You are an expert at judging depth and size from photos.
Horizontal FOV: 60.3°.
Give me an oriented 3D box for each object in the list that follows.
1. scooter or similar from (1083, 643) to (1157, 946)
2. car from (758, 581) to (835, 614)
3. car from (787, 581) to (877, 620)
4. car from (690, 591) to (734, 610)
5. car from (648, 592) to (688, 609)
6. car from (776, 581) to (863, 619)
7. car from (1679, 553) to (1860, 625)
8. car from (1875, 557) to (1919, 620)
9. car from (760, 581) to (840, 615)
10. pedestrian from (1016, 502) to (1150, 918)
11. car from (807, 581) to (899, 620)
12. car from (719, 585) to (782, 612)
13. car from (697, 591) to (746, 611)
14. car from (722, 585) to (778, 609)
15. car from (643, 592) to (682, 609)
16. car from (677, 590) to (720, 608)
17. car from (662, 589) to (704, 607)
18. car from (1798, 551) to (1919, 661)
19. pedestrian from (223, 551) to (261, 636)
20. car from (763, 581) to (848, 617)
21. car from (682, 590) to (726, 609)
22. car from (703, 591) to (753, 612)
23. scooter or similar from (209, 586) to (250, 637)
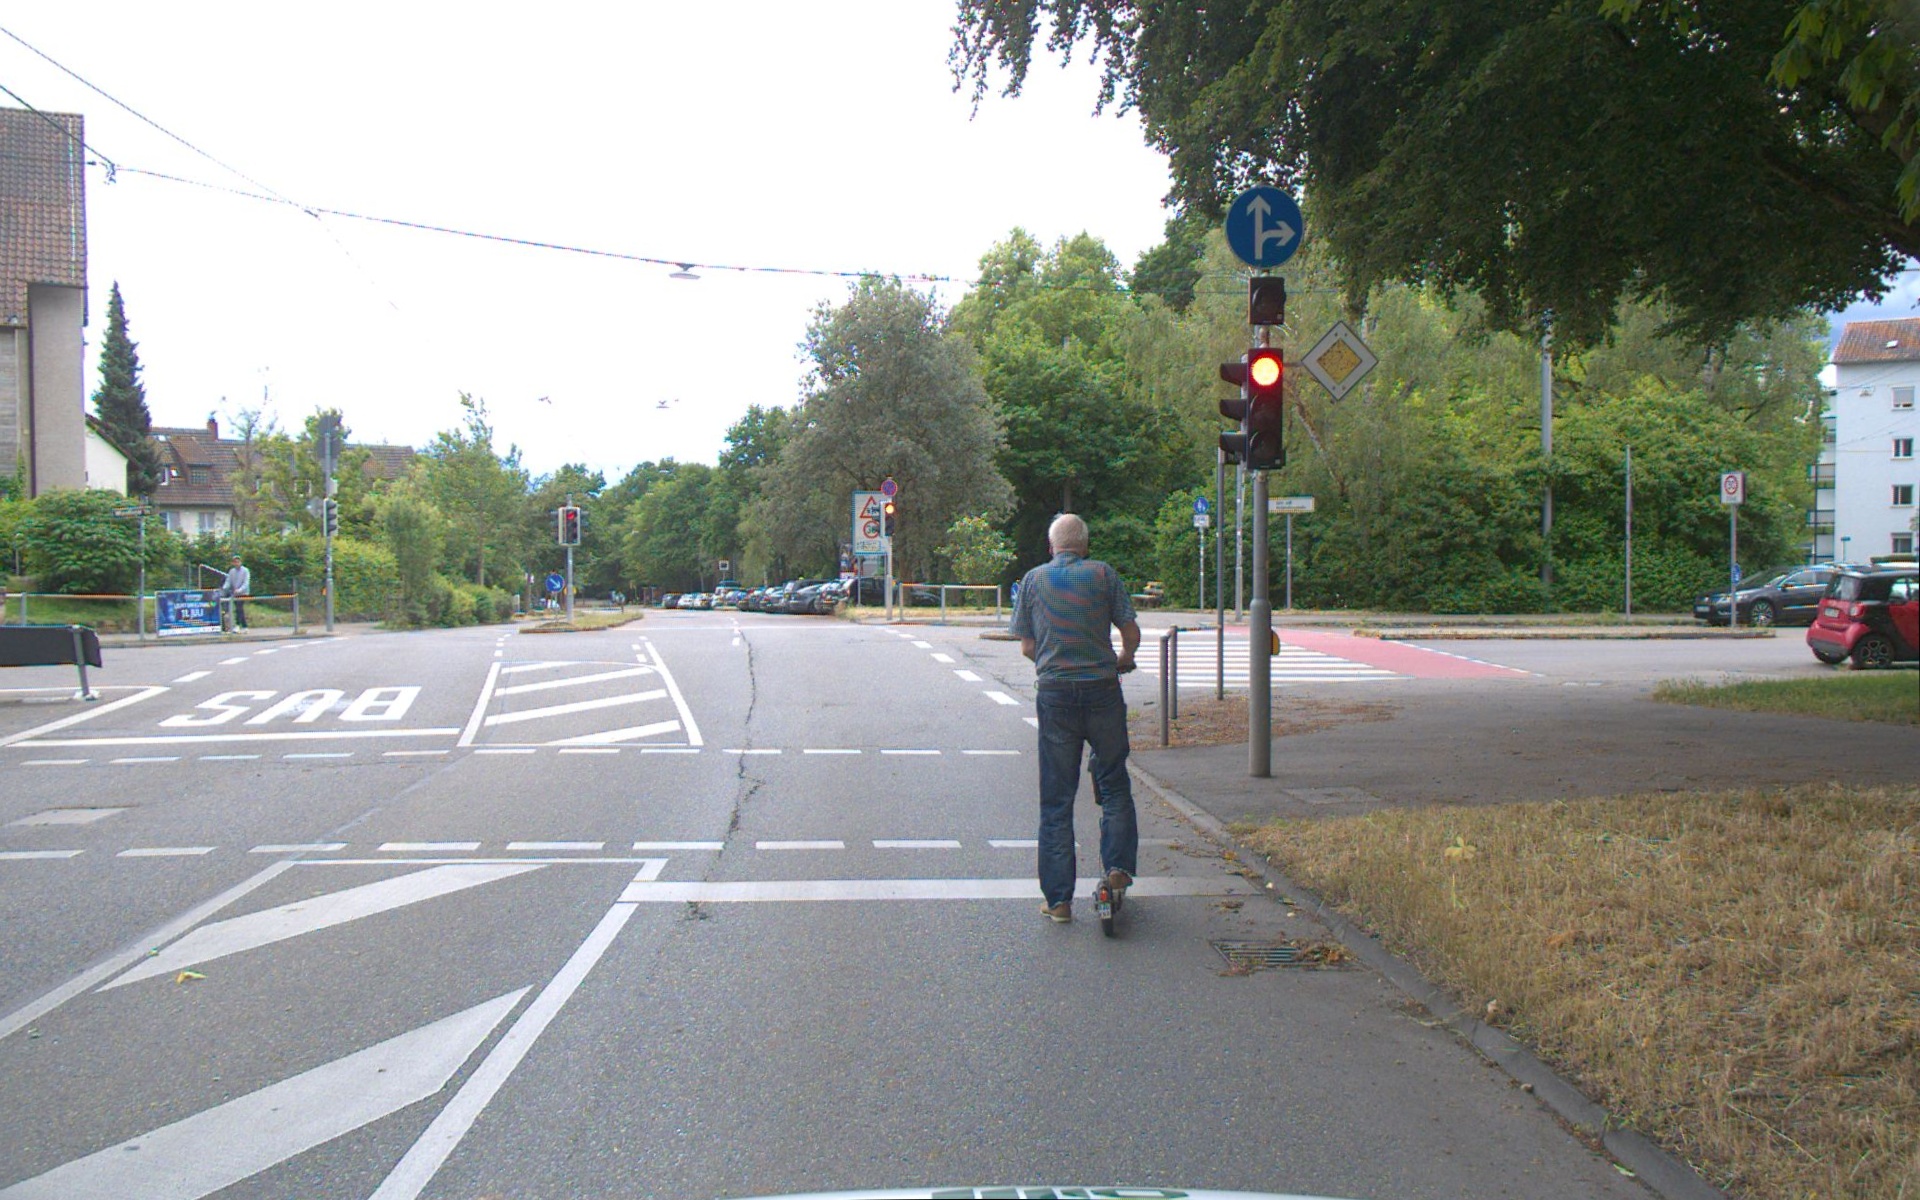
[{"bbox_3d":[0.730,0.818,7.401,0.276,1.199,1.178,-1,1,7],"label":"scooter or similar"},{"bbox_3d":[-8.801,-0.145,88.935,3.790,1.639,1.716,-2,1,-24],"label":"car"},{"bbox_3d":[-5.929,0.005,76.676,3.792,1.639,1.715,-2,1,-25],"label":"car"},{"bbox_3d":[-23.056,0.005,153.726,3.790,1.639,1.716,-2,1,-24],"label":"car"},{"bbox_3d":[-30.918,0.007,175.170,3.790,1.639,1.716,-2,1,-24],"label":"car"},{"bbox_3d":[-6.723,-0.015,79.205,3.790,1.639,1.716,-2,1,-24],"label":"car"},{"bbox_3d":[19.153,-0.265,39.244,3.444,1.557,1.729,-2,1,5],"label":"car"},{"bbox_3d":[26.404,-0.339,45.824,1.689,1.639,3.850,-1,1,27],"label":"car"},{"bbox_3d":[-8.362,-0.132,86.529,3.790,1.639,1.716,-2,1,-24],"label":"car"},{"bbox_3d":[0.569,0.488,7.574,0.560,1.845,0.421,-1,0,7],"label":"pedestrian"},{"bbox_3d":[-4.844,0.011,74.722,3.787,1.639,1.717,-2,1,-22],"label":"car"},{"bbox_3d":[-13.778,-0.091,108.722,3.790,1.639,1.716,-2,1,-24],"label":"car"},{"bbox_3d":[-20.549,0.081,142.459,3.790,1.639,1.716,-2,1,-24],"label":"car"},{"bbox_3d":[-15.434,-0.229,121.665,3.790,1.639,1.716,-2,1,-24],"label":"car"},{"bbox_3d":[-31.927,0.065,177.492,3.790,1.639,1.716,-2,1,-24],"label":"car"},{"bbox_3d":[-25.047,-0.095,158.399,3.790,1.639,1.716,-2,1,-24],"label":"car"},{"bbox_3d":[-27.686,-0.174,165.426,3.790,1.639,1.716,-2,1,-24],"label":"car"},{"bbox_3d":[15.255,0.046,25.843,3.444,1.639,1.729,-2,1,4],"label":"car"},{"bbox_3d":[-16.277,-0.145,37.491,0.562,1.895,0.885,-1,0,-10],"label":"pedestrian"},{"bbox_3d":[-7.574,-0.069,81.227,3.790,1.639,1.716,-2,1,-24],"label":"car"},{"bbox_3d":[-24.116,-0.067,155.843,3.790,1.639,1.716,-2,1,-24],"label":"car"},{"bbox_3d":[-19.454,0.114,138.801,3.790,1.639,1.716,-2,1,-24],"label":"car"},{"bbox_3d":[-16.116,0.245,36.505,0.565,1.100,1.108,-1,1,-10],"label":"scooter or similar"}]
